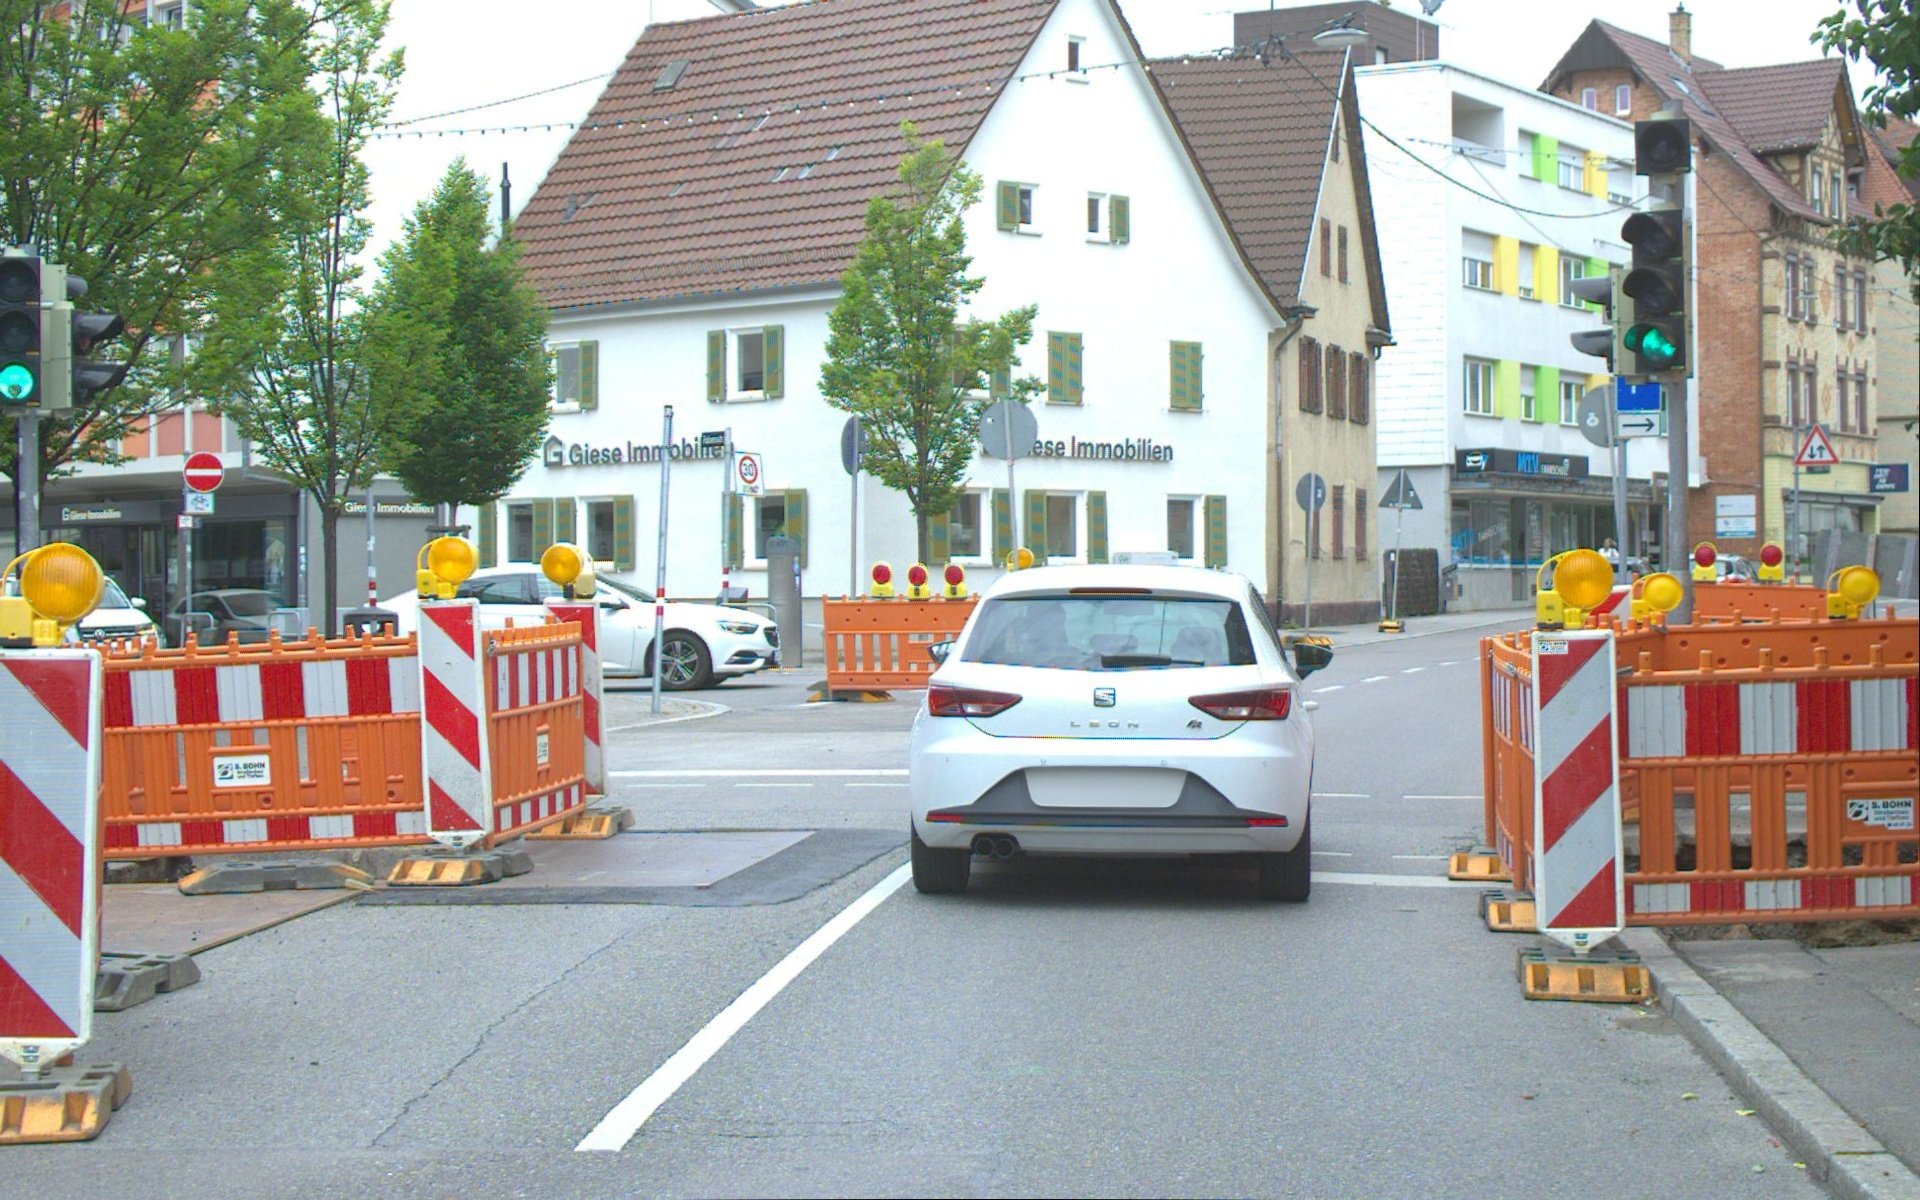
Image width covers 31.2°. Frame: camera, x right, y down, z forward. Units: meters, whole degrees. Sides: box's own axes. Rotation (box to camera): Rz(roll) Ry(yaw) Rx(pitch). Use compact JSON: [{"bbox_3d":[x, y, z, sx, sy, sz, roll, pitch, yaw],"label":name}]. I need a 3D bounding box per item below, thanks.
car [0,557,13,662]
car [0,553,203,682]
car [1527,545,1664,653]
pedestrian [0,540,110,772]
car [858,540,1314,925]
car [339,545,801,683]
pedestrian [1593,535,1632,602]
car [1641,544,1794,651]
[{"bbox_3d":[-16.679,0.101,52.222,4.914,1.552,2.017,2,1,41],"label":"car"},{"bbox_3d":[-11.916,0.179,45.237,2.015,1.552,4.918,0,1,-36],"label":"car"},{"bbox_3d":[9.520,-0.048,51.302,1.812,1.475,3.868,0,2,13],"label":"car"},{"bbox_3d":[-6.508,0.378,23.999,0.682,1.586,0.878,0,1,27],"label":"pedestrian"},{"bbox_3d":[0.706,0.505,15.999,1.812,1.475,3.870,1,2,6],"label":"car"},{"bbox_3d":[-4.416,0.136,39.417,4.903,1.471,2.249,1,1,5],"label":"car"},{"bbox_3d":[16.338,-0.784,86.071,0.893,1.659,0.861,0,1,16],"label":"pedestrian"},{"bbox_3d":[14.887,-0.074,67.417,1.996,2.007,3.994,0,1,27],"label":"car"}]
